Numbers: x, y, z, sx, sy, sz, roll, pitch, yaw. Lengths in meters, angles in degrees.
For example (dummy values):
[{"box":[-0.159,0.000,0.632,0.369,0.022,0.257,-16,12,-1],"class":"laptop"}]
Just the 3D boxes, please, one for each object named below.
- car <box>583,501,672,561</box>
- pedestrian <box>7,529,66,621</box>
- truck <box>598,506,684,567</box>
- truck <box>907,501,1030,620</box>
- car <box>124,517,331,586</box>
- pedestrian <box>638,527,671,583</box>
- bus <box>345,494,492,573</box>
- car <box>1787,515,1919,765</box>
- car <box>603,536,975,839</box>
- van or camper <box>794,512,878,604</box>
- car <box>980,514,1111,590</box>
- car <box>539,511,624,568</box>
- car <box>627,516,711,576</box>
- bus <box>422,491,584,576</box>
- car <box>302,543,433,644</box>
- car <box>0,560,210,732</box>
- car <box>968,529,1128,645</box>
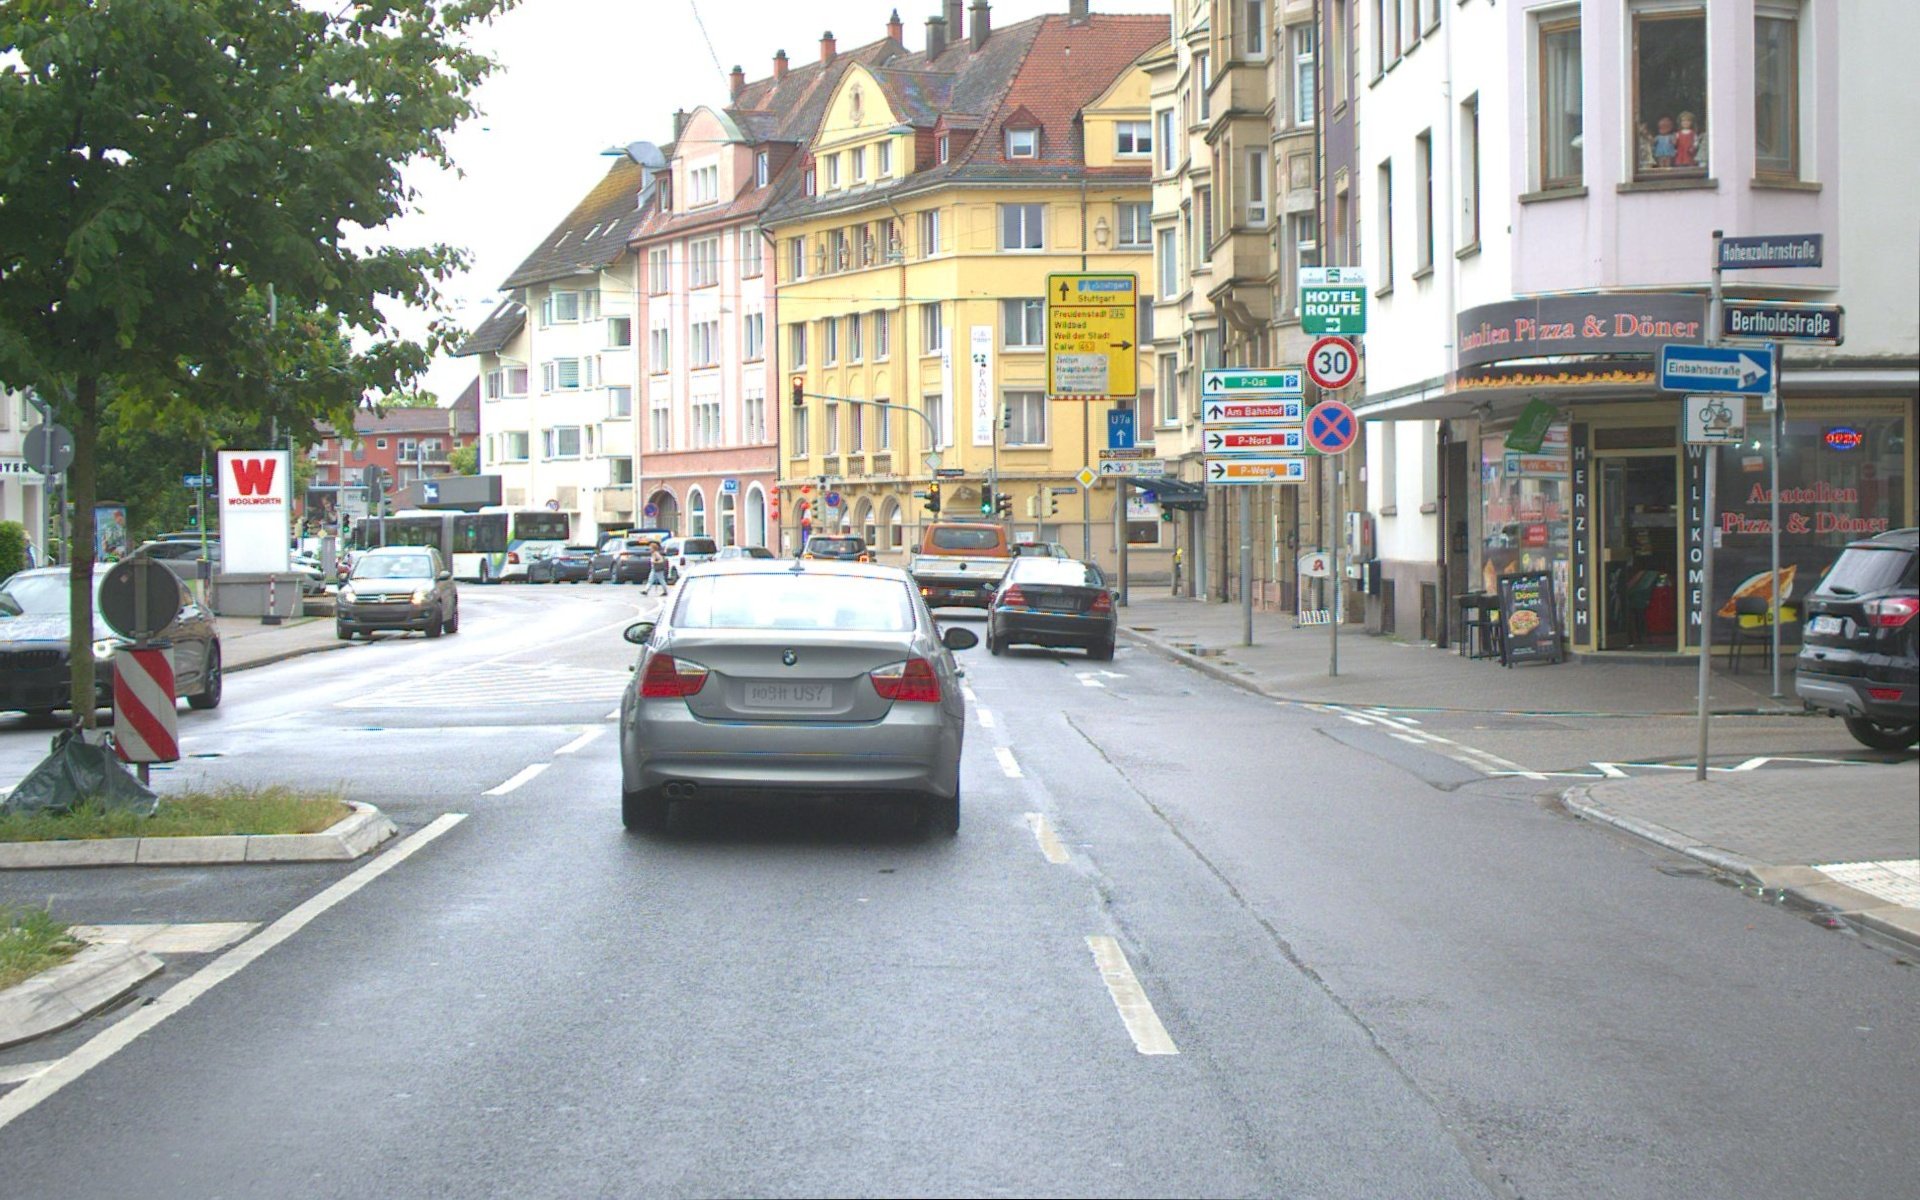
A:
[{"box":[-11.463,-2.368,118.296,1.993,2.007,4.001,-1,1,-22],"class":"car"},{"box":[-17.130,-0.470,63.764,0.754,1.679,0.746,0,2,44],"class":"pedestrian"},{"box":[-12.769,-2.568,137.294,2.026,2.381,4.238,0,2,-26],"class":"truck"},{"box":[0.120,-0.798,67.490,2.224,2.242,5.063,0,1,-2],"class":"truck"},{"box":[-16.768,-1.122,78.850,4.444,1.521,1.886,-1,1,-6],"class":"car"},{"box":[-8.402,-1.232,94.672,0.760,1.524,0.508,1,0,-22],"class":"pedestrian"},{"box":[-22.025,-2.694,139.377,2.908,3.094,8.872,-2,2,-30],"class":"bus"},{"box":[8.290,0.272,25.126,4.139,1.766,1.873,0,1,6],"class":"car"},{"box":[-0.917,0.415,18.839,1.799,1.459,4.371,0,0,-2],"class":"car"},{"box":[-3.026,-1.035,83.066,1.854,2.139,4.143,0,1,-4],"class":"van or camper"},{"box":[2.371,-1.326,94.473,1.997,2.007,3.994,1,1,28],"class":"car"},{"box":[-13.642,-2.182,123.785,1.993,2.007,4.001,-1,1,-23],"class":"car"},{"box":[-11.195,-2.090,132.026,1.761,2.173,4.001,2,1,-27],"class":"car"},{"box":[-17.560,-2.547,131.590,2.908,3.094,9.144,-2,2,-29],"class":"bus"},{"box":[-10.727,-0.156,62.089,1.948,1.653,4.058,-3,2,-14],"class":"car"},{"box":[-8.373,0.368,31.687,2.013,1.421,4.500,1,1,-1],"class":"car"},{"box":[1.187,-0.186,48.171,1.799,1.558,4.001,0,0,-5],"class":"car"}]
